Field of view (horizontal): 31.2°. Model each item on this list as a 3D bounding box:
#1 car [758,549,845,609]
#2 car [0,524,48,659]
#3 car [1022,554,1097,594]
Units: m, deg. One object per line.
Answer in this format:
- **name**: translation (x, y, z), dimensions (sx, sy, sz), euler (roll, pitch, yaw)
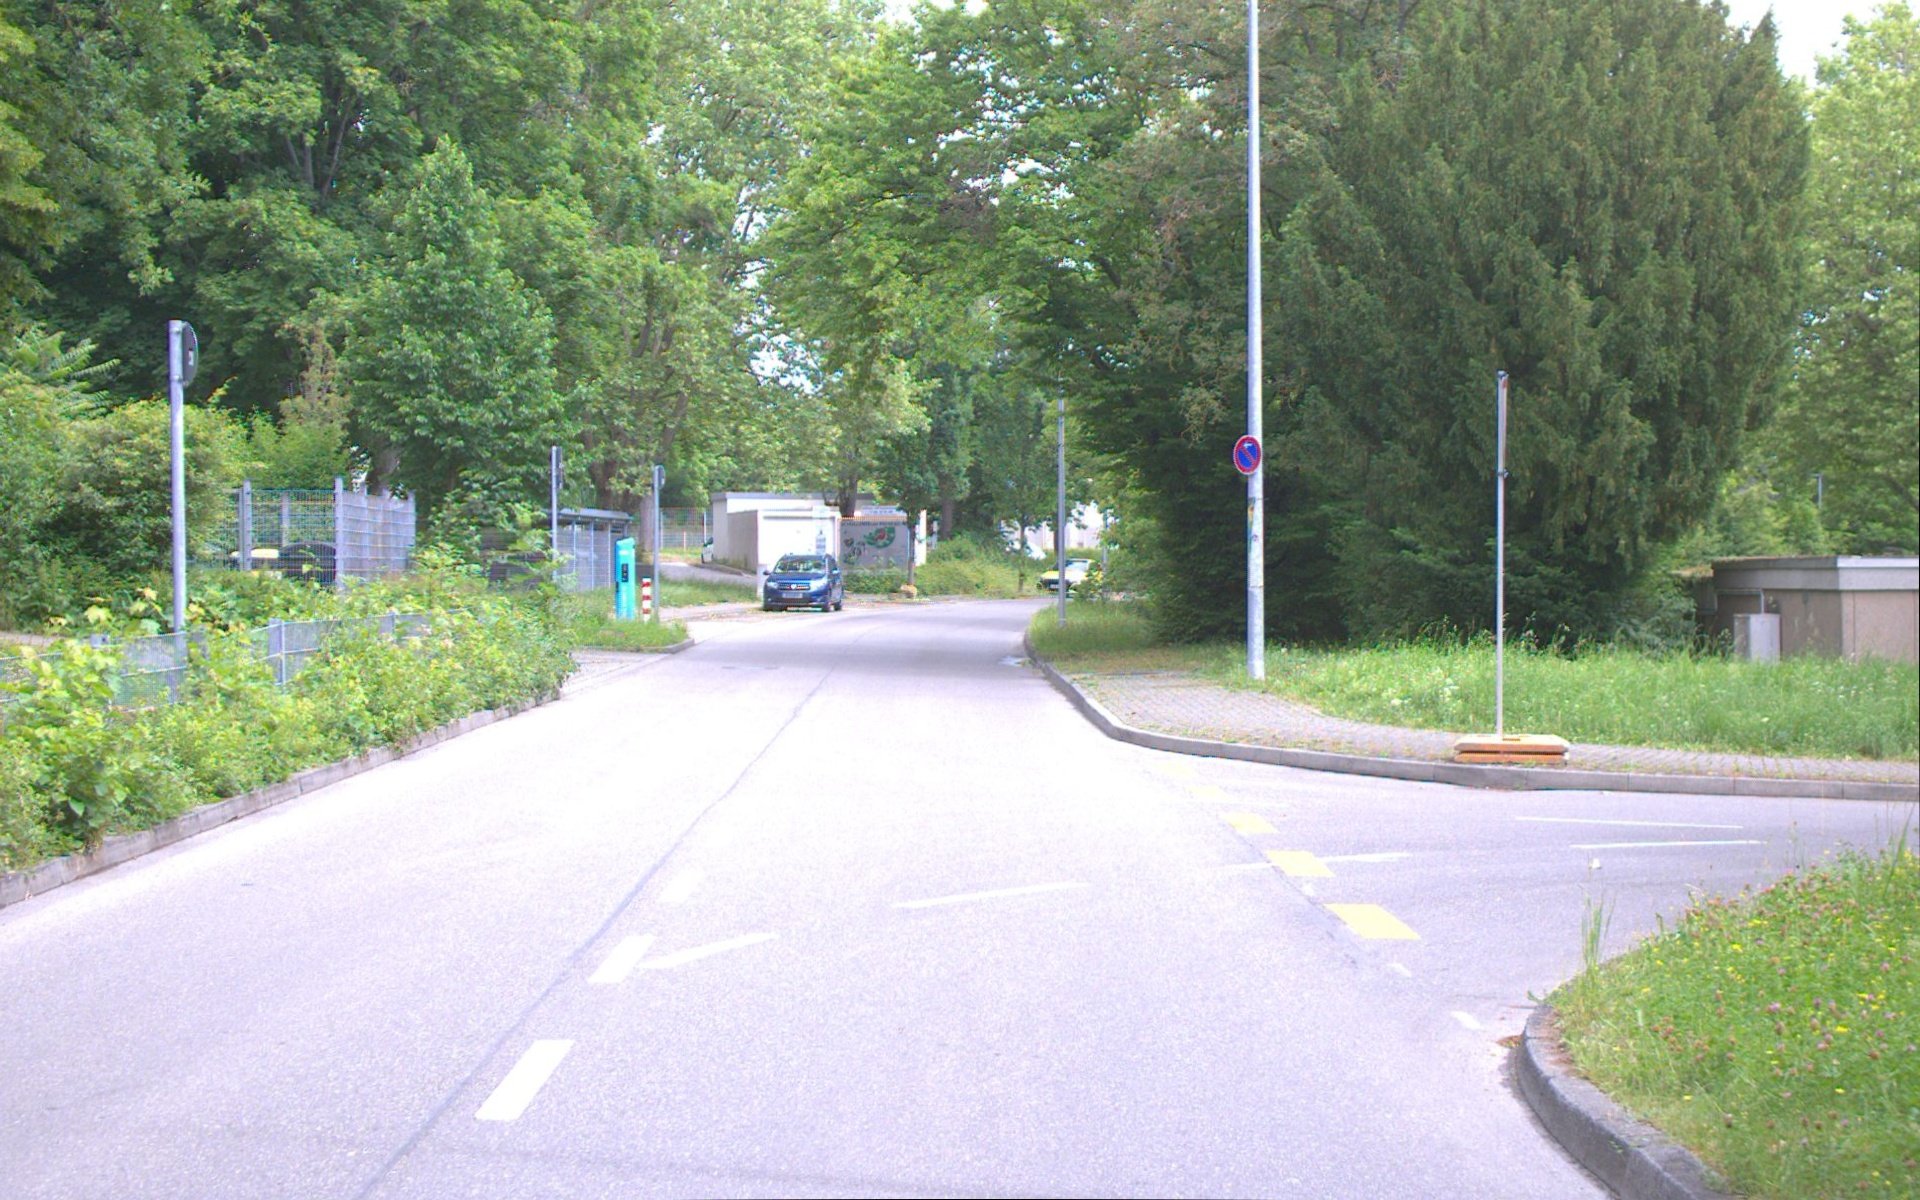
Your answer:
- **car**: translation (-4.131, -0.553, 90.339), dimensions (1.680, 1.506, 4.430), euler (1, 1, 5)
- **car**: translation (-15.329, -0.116, 50.836), dimensions (1.994, 2.007, 3.998), euler (0, 1, 11)
- **car**: translation (3.716, -0.956, 127.671), dimensions (1.701, 1.398, 4.270), euler (2, 0, 17)
